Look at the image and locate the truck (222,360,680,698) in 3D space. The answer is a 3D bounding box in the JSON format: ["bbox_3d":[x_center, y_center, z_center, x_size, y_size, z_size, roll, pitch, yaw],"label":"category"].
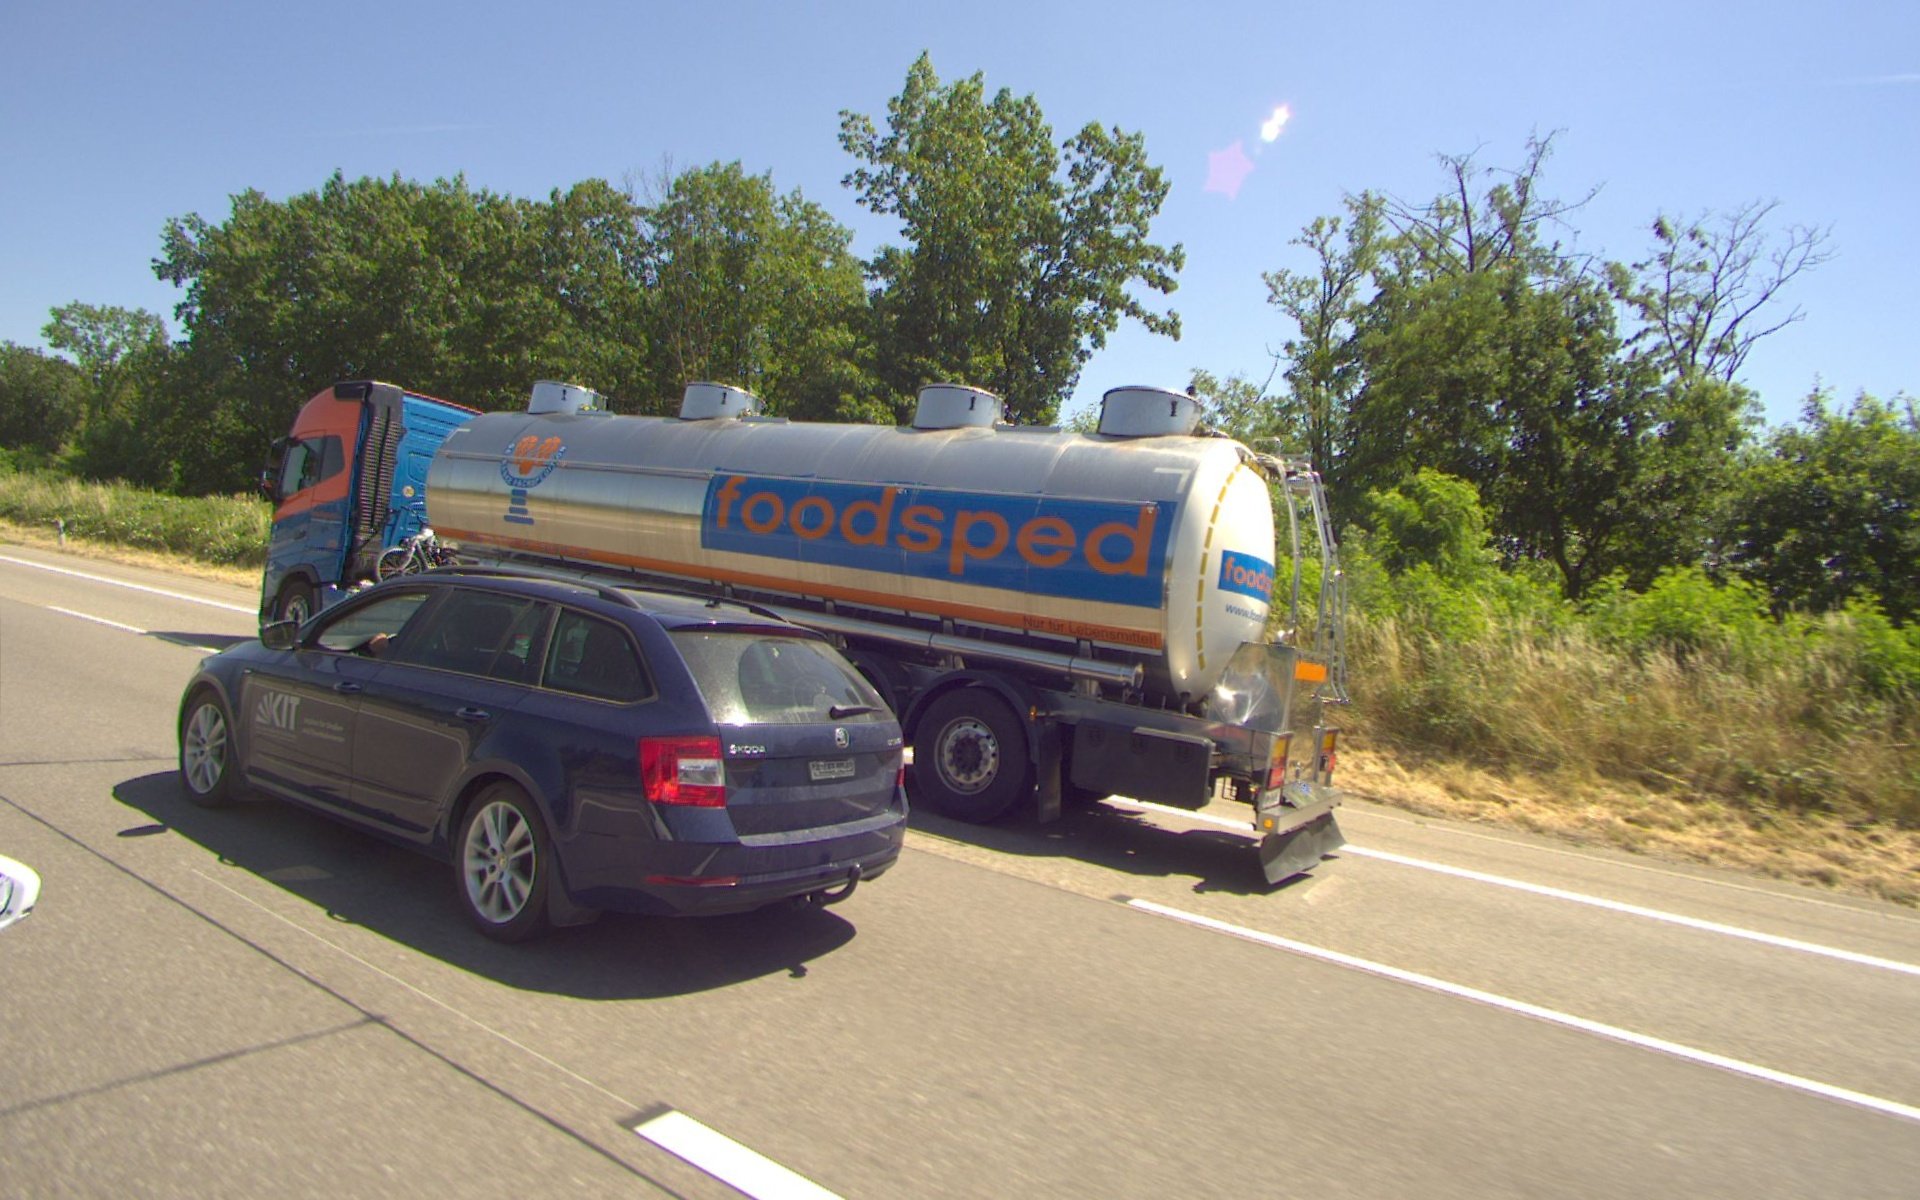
[{"bbox_3d":[-7.157,-0.974,13.925,5.998,3.777,2.534,6,-1,32],"label":"truck"}]

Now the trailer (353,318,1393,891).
[{"bbox_3d":[-1.898,-0.386,10.650,11.357,3.777,2.534,6,-1,32],"label":"trailer"}]

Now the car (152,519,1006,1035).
[{"bbox_3d":[-2.102,0.587,5.212,4.200,1.500,1.805,6,-2,31],"label":"car"}]
